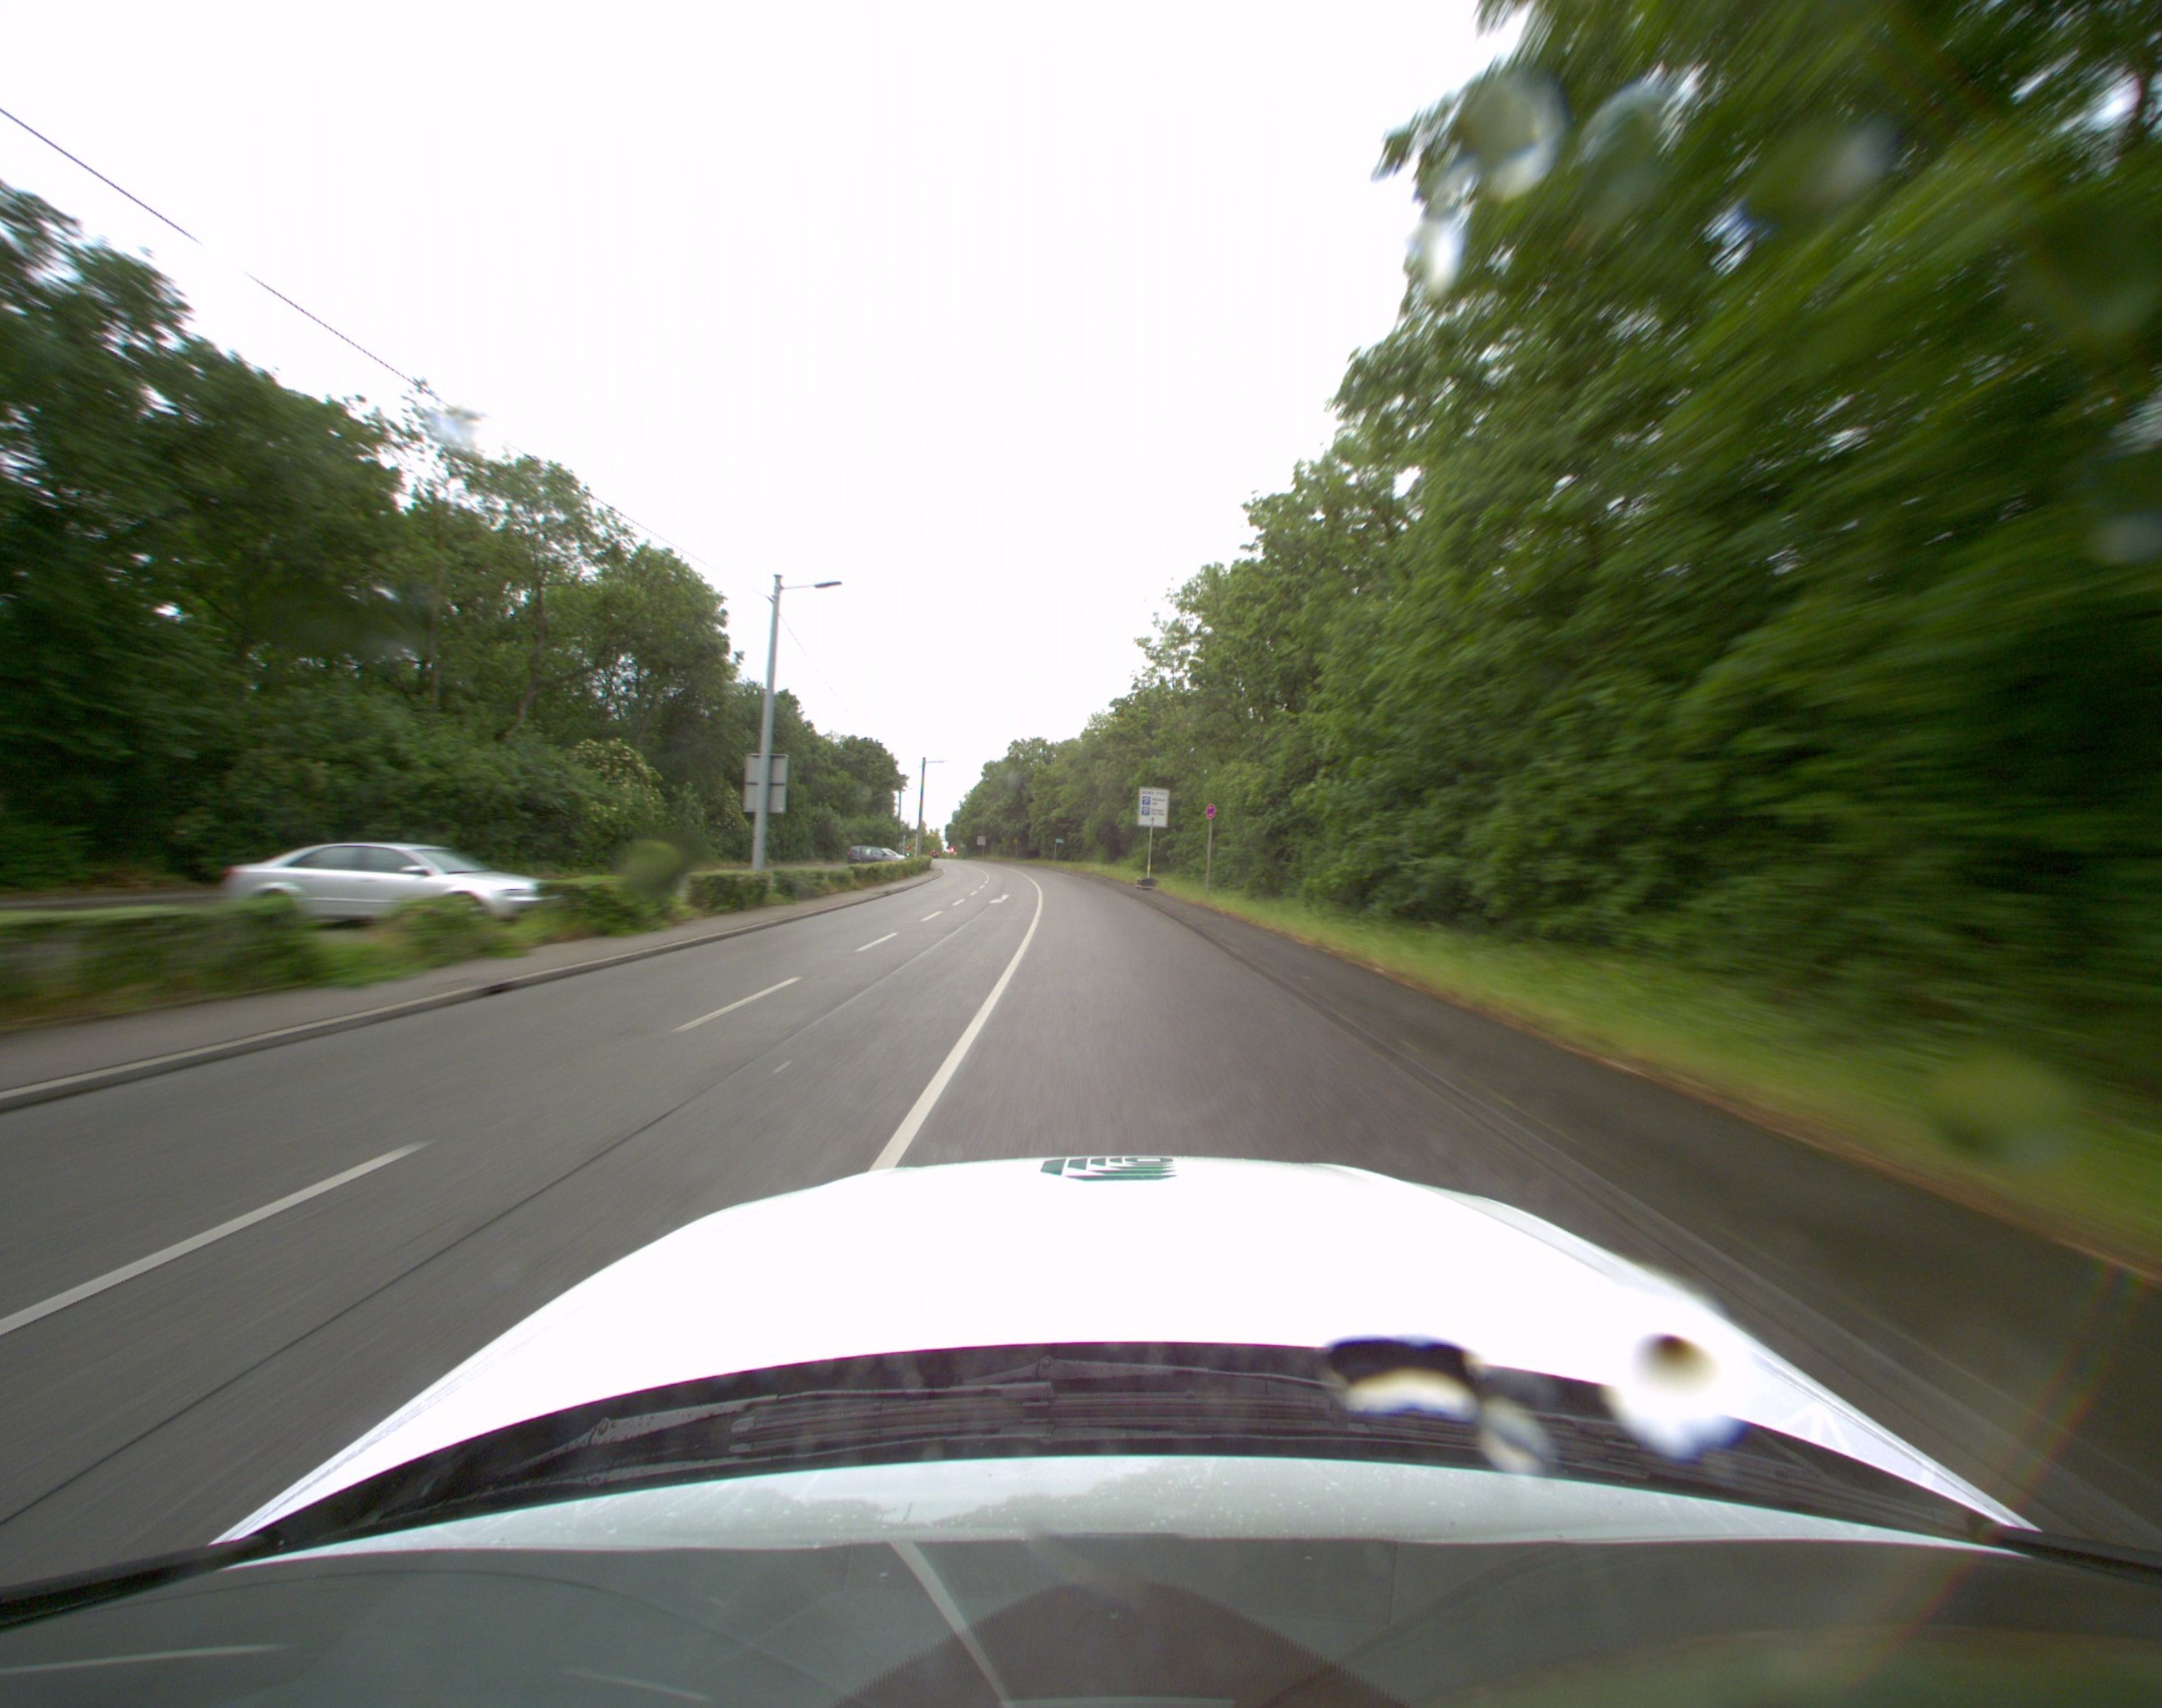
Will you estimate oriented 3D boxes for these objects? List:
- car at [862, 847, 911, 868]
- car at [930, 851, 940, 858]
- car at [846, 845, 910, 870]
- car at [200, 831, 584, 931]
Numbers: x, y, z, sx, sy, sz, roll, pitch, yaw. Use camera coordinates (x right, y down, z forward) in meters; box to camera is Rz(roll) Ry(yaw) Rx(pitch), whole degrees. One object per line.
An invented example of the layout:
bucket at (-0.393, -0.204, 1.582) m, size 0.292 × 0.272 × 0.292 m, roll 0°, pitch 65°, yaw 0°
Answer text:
car at (-15.623, 0.297, 65.601) m, size 3.646 × 1.591 × 1.845 m, roll 1°, pitch 0°, yaw -11°
car at (-31.121, 0.134, 173.726) m, size 1.935 × 1.498 × 4.302 m, roll 1°, pitch 0°, yaw -11°
car at (-14.912, 0.253, 60.003) m, size 4.282 × 1.708 × 1.997 m, roll 1°, pitch 0°, yaw -4°
car at (-11.398, 0.437, 13.841) m, size 4.571 × 1.506 × 1.995 m, roll 1°, pitch 0°, yaw -7°
